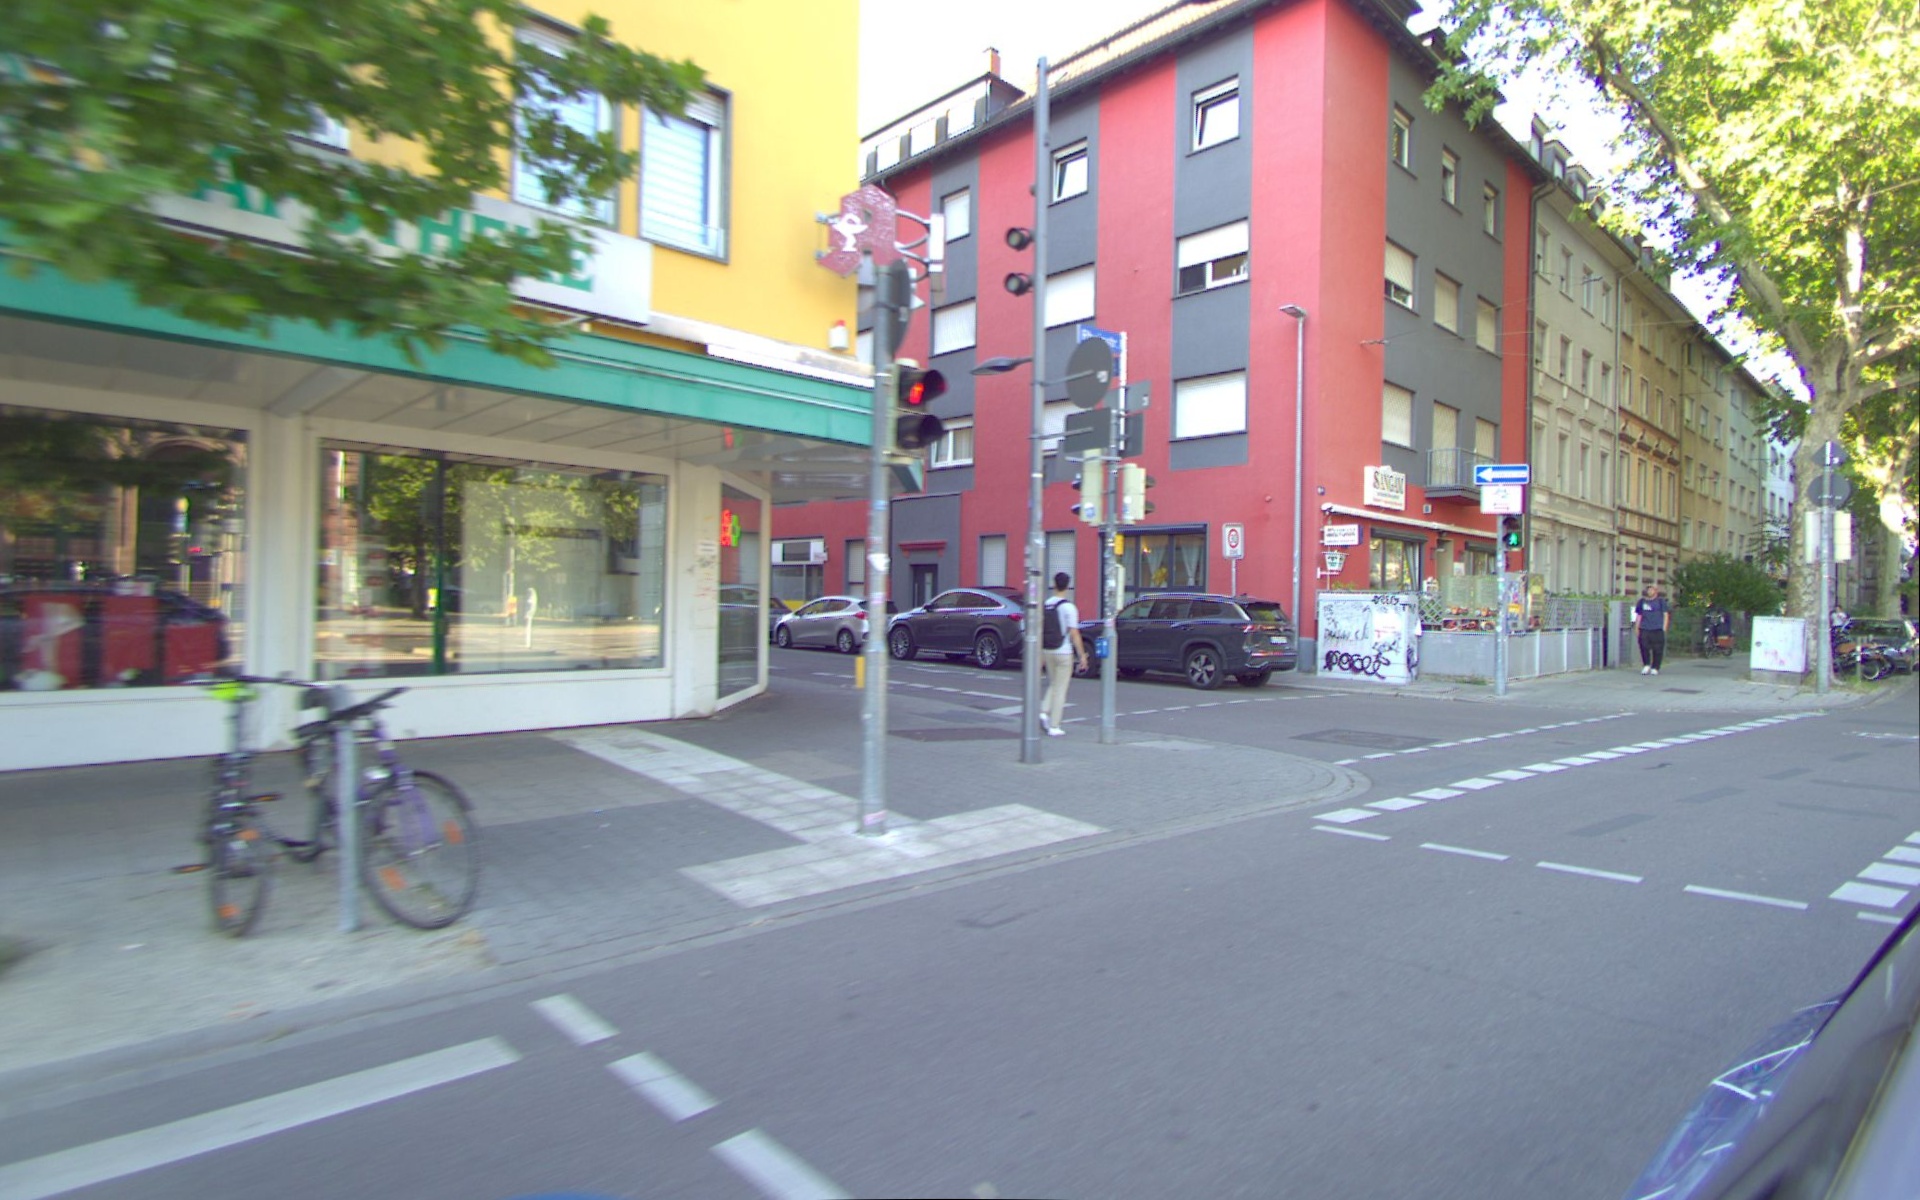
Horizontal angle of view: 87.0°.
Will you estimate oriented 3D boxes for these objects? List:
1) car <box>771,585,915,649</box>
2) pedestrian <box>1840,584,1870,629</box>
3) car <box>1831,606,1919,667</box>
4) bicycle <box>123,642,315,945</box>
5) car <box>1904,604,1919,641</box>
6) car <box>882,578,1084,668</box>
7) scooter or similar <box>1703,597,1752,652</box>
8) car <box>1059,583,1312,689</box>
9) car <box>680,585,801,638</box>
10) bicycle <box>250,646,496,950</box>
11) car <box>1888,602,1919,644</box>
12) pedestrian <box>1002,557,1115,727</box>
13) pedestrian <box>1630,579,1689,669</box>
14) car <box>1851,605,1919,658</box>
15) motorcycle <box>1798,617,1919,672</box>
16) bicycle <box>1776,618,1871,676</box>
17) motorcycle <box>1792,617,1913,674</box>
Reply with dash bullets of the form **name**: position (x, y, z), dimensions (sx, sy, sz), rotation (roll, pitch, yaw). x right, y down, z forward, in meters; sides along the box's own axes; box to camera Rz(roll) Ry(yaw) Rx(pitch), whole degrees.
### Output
- **car**: position (-3.104, 0.401, 26.391), dimensions (1.743, 1.504, 3.803), rotation (1, 1, -45)
- **pedestrian**: position (32.229, 0.233, 36.450), dimensions (0.690, 1.600, 0.727), rotation (0, 1, -43)
- **car**: position (25.151, 0.937, 27.451), dimensions (4.296, 1.419, 1.801), rotation (1, 3, -43)
- **bicycle**: position (-3.349, 0.766, 4.527), dimensions (1.483, 1.020, 0.447), rotation (4, 3, 44)
- **car**: position (45.334, 1.057, 47.090), dimensions (4.298, 1.628, 1.800), rotation (0, 3, -44)
- **car**: position (0.400, 0.431, 22.428), dimensions (1.743, 1.762, 4.607), rotation (1, 1, -43)
- **scooter or similar**: position (21.778, 0.666, 28.693), dimensions (2.502, 1.488, 0.665), rotation (1, 0, -43)
- **car**: position (4.045, 0.563, 18.694), dimensions (1.743, 1.708, 4.346), rotation (1, 1, -43)
- **car**: position (-6.594, 0.304, 30.242), dimensions (1.743, 1.420, 3.845), rotation (1, 1, -45)
- **bicycle**: position (-2.825, 0.811, 4.775), dimensions (1.799, 1.020, 0.532), rotation (4, 3, 44)
- **car**: position (40.030, 0.972, 42.075), dimensions (4.298, 1.628, 1.800), rotation (0, 3, -44)
- **pedestrian**: position (1.103, 0.468, 11.276), dimensions (0.879, 1.803, 0.744), rotation (7, -4, -43)
- **pedestrian**: position (14.027, 0.461, 20.292), dimensions (0.802, 1.731, 0.727), rotation (0, 3, -43)
- **car**: position (29.395, 0.936, 31.792), dimensions (1.799, 1.473, 4.439), rotation (4, 3, 45)
- **motorcycle**: position (21.329, 1.045, 23.912), dimensions (2.186, 1.125, 0.659), rotation (4, 0, 21)
- **bicycle**: position (18.394, 0.997, 21.564), dimensions (1.762, 1.125, 0.622), rotation (3, 0, -16)
- **motorcycle**: position (19.796, 0.999, 22.483), dimensions (1.857, 1.125, 0.784), rotation (3, 0, 5)
